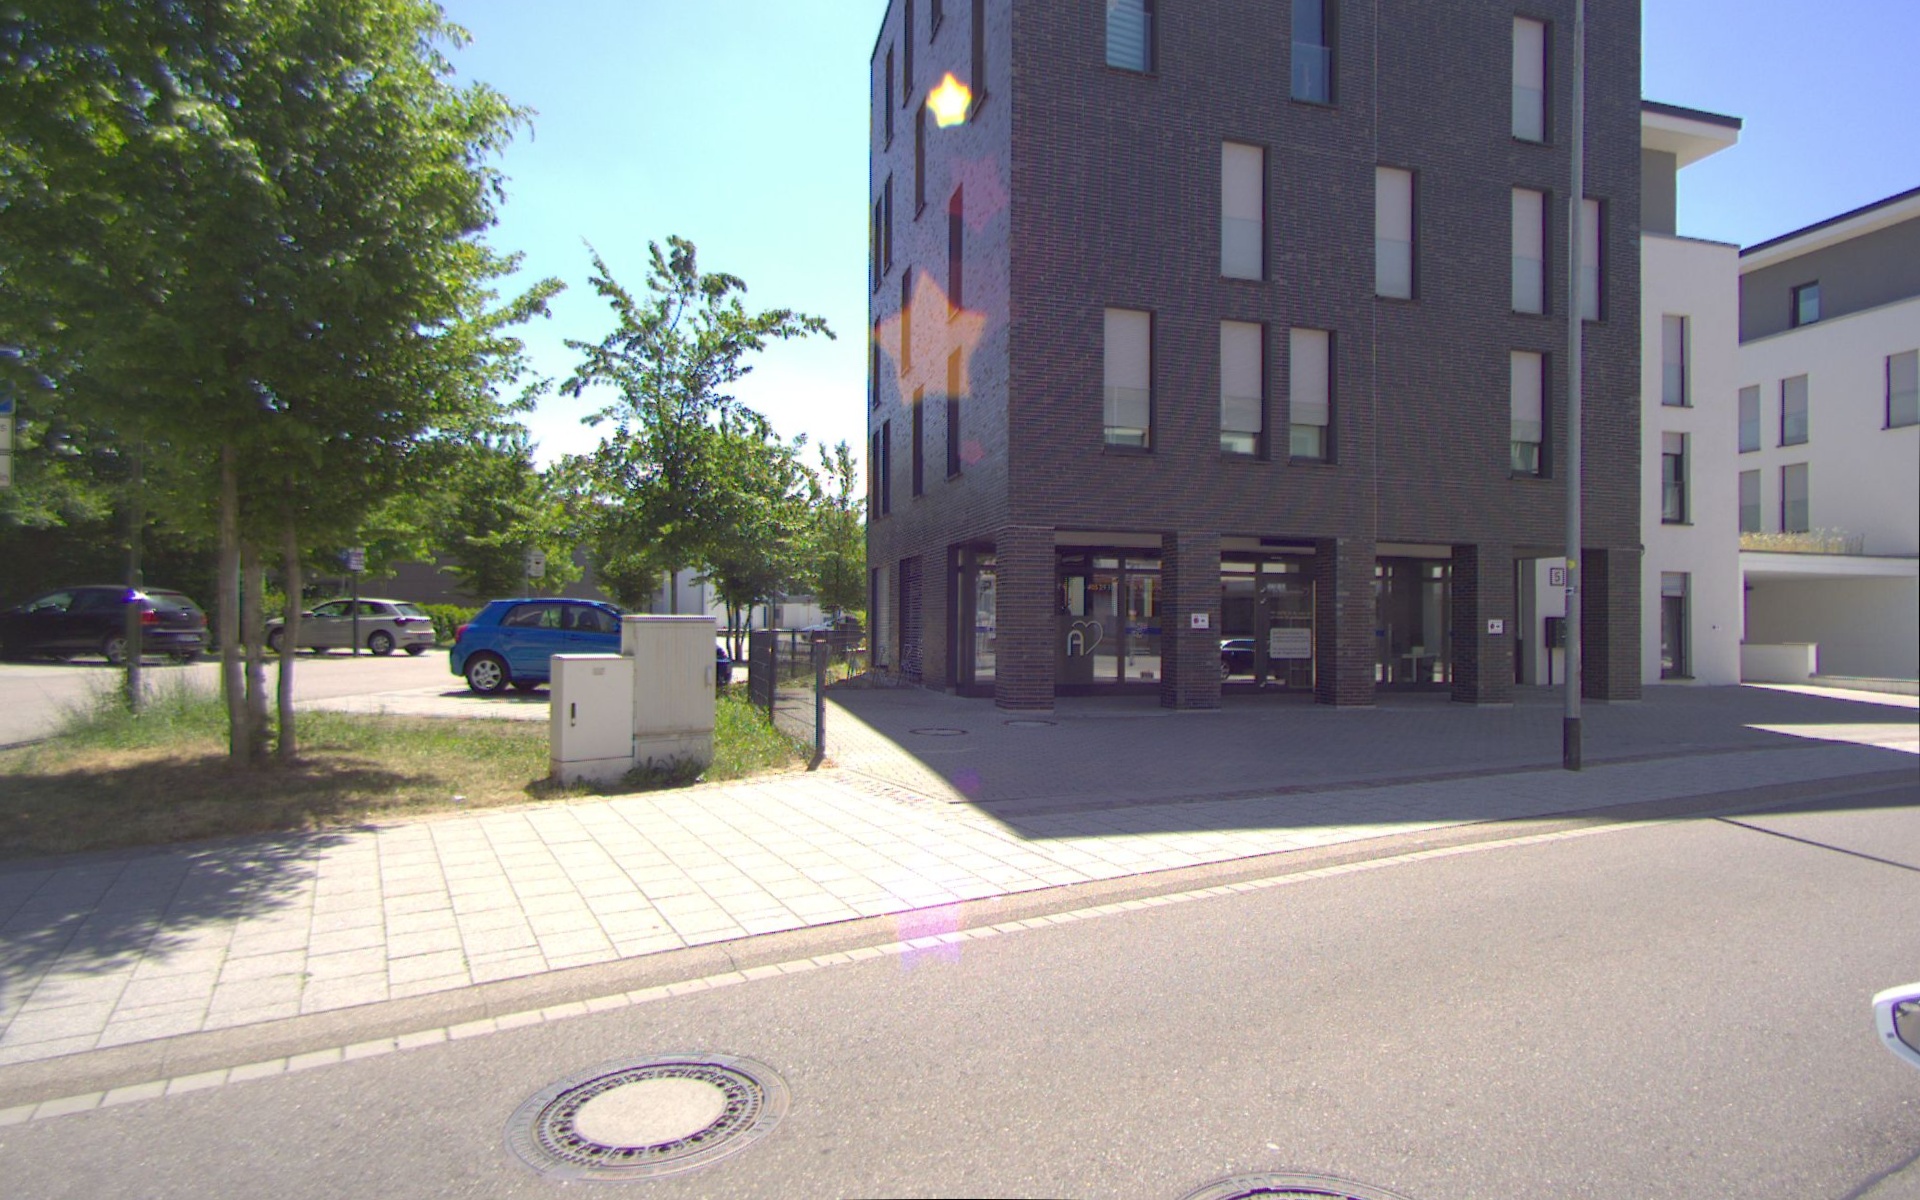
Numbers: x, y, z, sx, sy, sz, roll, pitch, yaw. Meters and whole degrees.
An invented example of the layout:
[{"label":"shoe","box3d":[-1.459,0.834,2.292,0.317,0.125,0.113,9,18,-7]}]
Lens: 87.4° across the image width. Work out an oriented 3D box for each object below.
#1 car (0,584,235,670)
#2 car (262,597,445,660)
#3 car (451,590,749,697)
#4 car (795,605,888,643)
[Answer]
[{"label":"car","box3d":[-16.298,0.505,19.084,3.696,1.511,1.690,1,-1,-5]},{"label":"car","box3d":[-15.728,0.724,26.178,3.692,1.511,1.691,1,-1,1]},{"label":"car","box3d":[-5.464,0.684,15.669,4.001,1.505,1.700,1,-2,-3]},{"label":"car","box3d":[-6.214,1.266,52.994,4.691,1.887,2.000,1,-1,-2]}]
